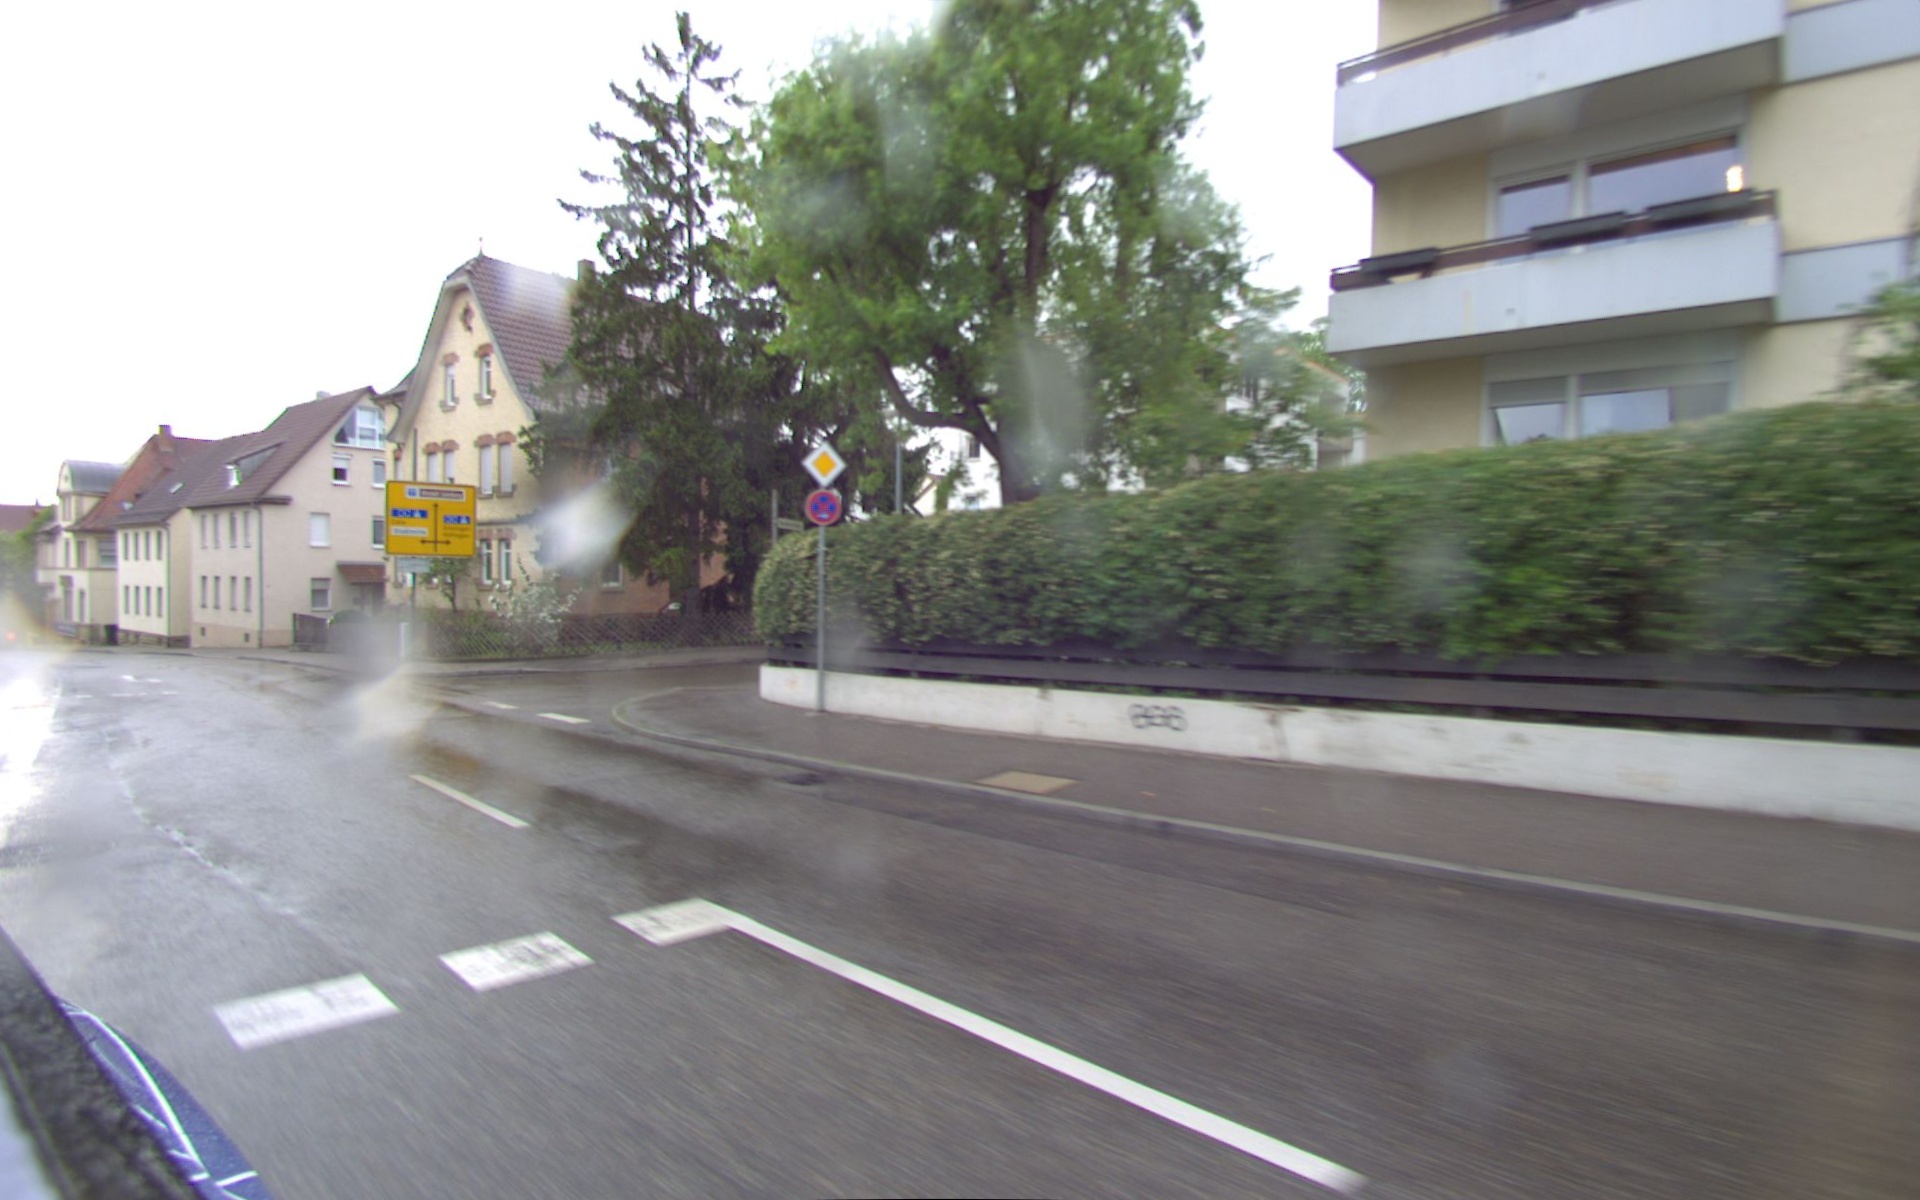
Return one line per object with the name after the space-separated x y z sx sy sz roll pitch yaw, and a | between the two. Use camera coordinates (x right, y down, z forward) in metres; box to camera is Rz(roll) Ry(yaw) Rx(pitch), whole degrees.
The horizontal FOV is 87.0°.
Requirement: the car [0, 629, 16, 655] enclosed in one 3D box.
-61.301 2.711 64.143 3.811 1.583 1.727 -2 2 41 | car
